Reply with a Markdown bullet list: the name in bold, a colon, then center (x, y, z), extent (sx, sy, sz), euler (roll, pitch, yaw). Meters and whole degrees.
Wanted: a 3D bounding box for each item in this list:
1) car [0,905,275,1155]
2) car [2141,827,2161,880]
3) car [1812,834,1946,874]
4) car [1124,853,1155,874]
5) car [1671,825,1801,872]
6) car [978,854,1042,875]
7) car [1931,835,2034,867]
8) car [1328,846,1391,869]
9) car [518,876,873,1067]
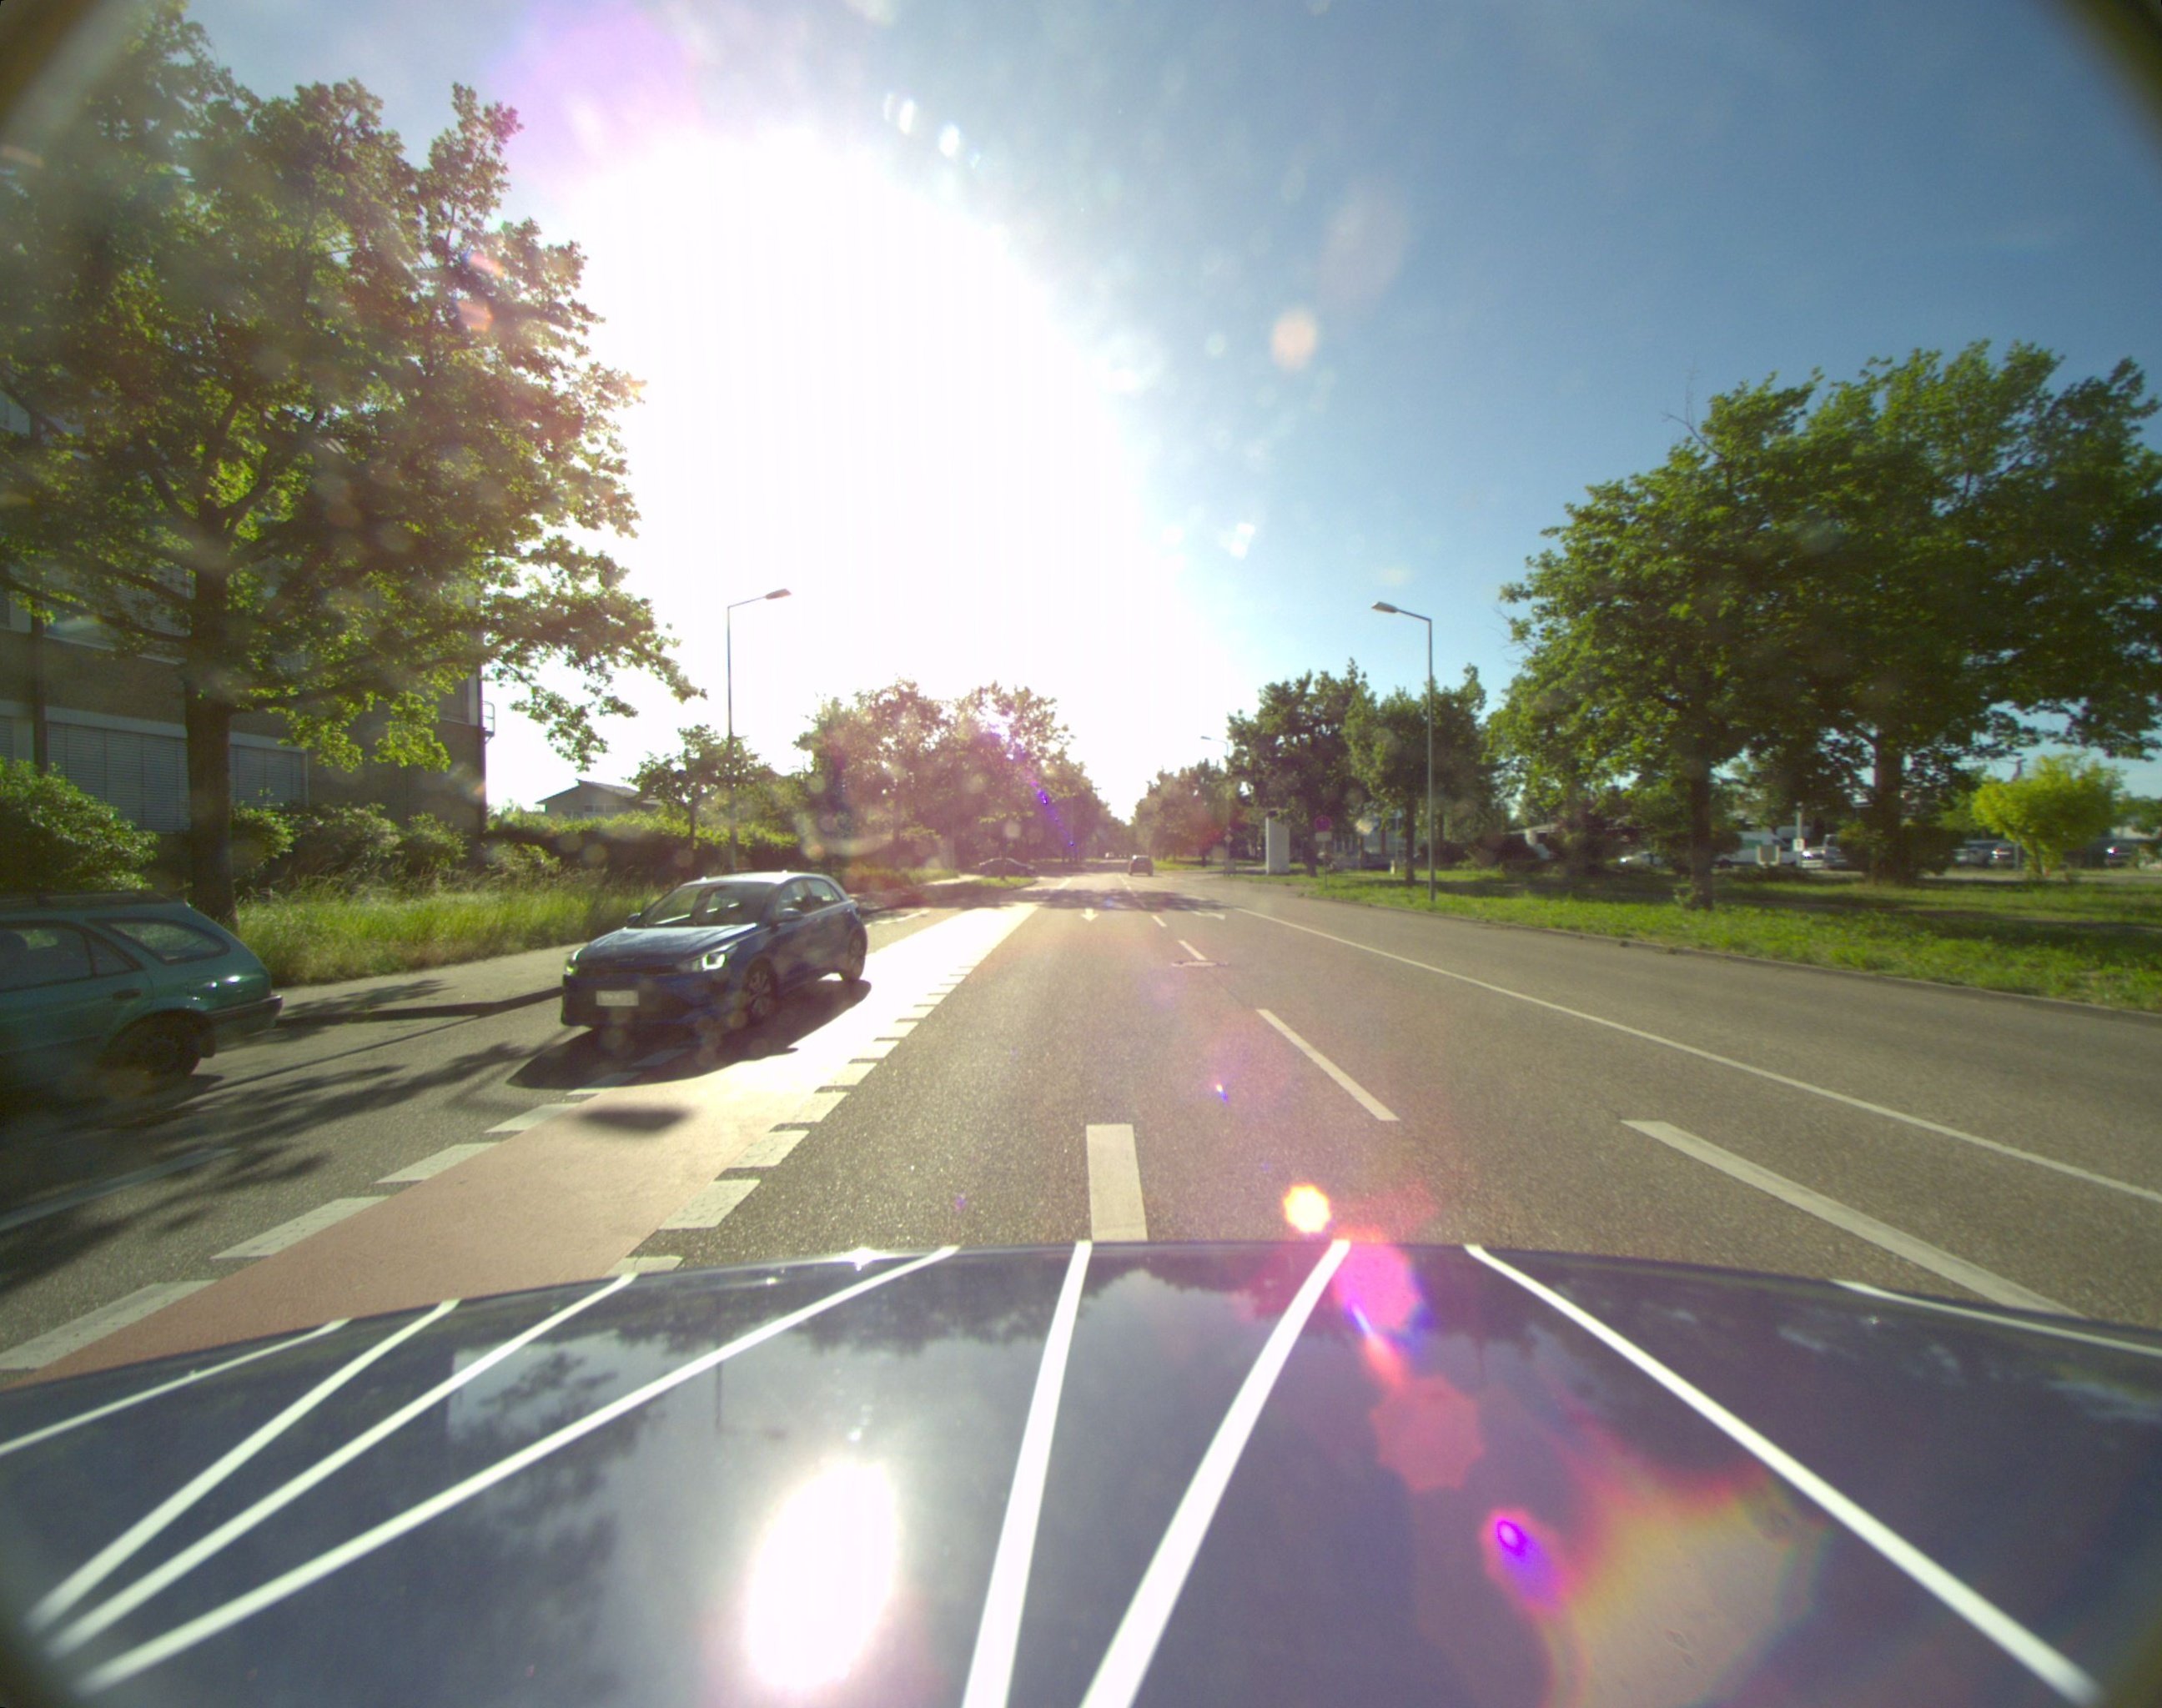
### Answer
- **car**: center (-7.528, 1.130, 4.205), extent (1.706, 1.460, 4.141), euler (-1, -1, 0)
- **car**: center (33.884, -0.084, 22.028), extent (3.817, 1.562, 1.736), euler (-2, -1, 0)
- **car**: center (40.056, -0.002, 38.209), extent (4.642, 1.771, 1.990), euler (-2, 1, 0)
- **car**: center (4.465, 0.682, 58.298), extent (1.768, 1.517, 4.078), euler (0, 0, -4)
- **car**: center (39.894, -0.335, 46.386), extent (6.023, 2.540, 2.409), euler (-2, 1, -4)
- **car**: center (-5.419, 0.782, 58.202), extent (4.482, 1.510, 1.898), euler (0, 1, 8)
- **car**: center (52.083, -0.204, 43.949), extent (3.860, 1.661, 1.762), euler (-2, 1, 0)
- **car**: center (23.922, 0.299, 65.358), extent (4.637, 1.822, 2.000), euler (-2, 1, 0)
- **car**: center (-3.838, 1.065, 8.447), extent (1.653, 1.460, 3.942), euler (-2, 0, 4)
